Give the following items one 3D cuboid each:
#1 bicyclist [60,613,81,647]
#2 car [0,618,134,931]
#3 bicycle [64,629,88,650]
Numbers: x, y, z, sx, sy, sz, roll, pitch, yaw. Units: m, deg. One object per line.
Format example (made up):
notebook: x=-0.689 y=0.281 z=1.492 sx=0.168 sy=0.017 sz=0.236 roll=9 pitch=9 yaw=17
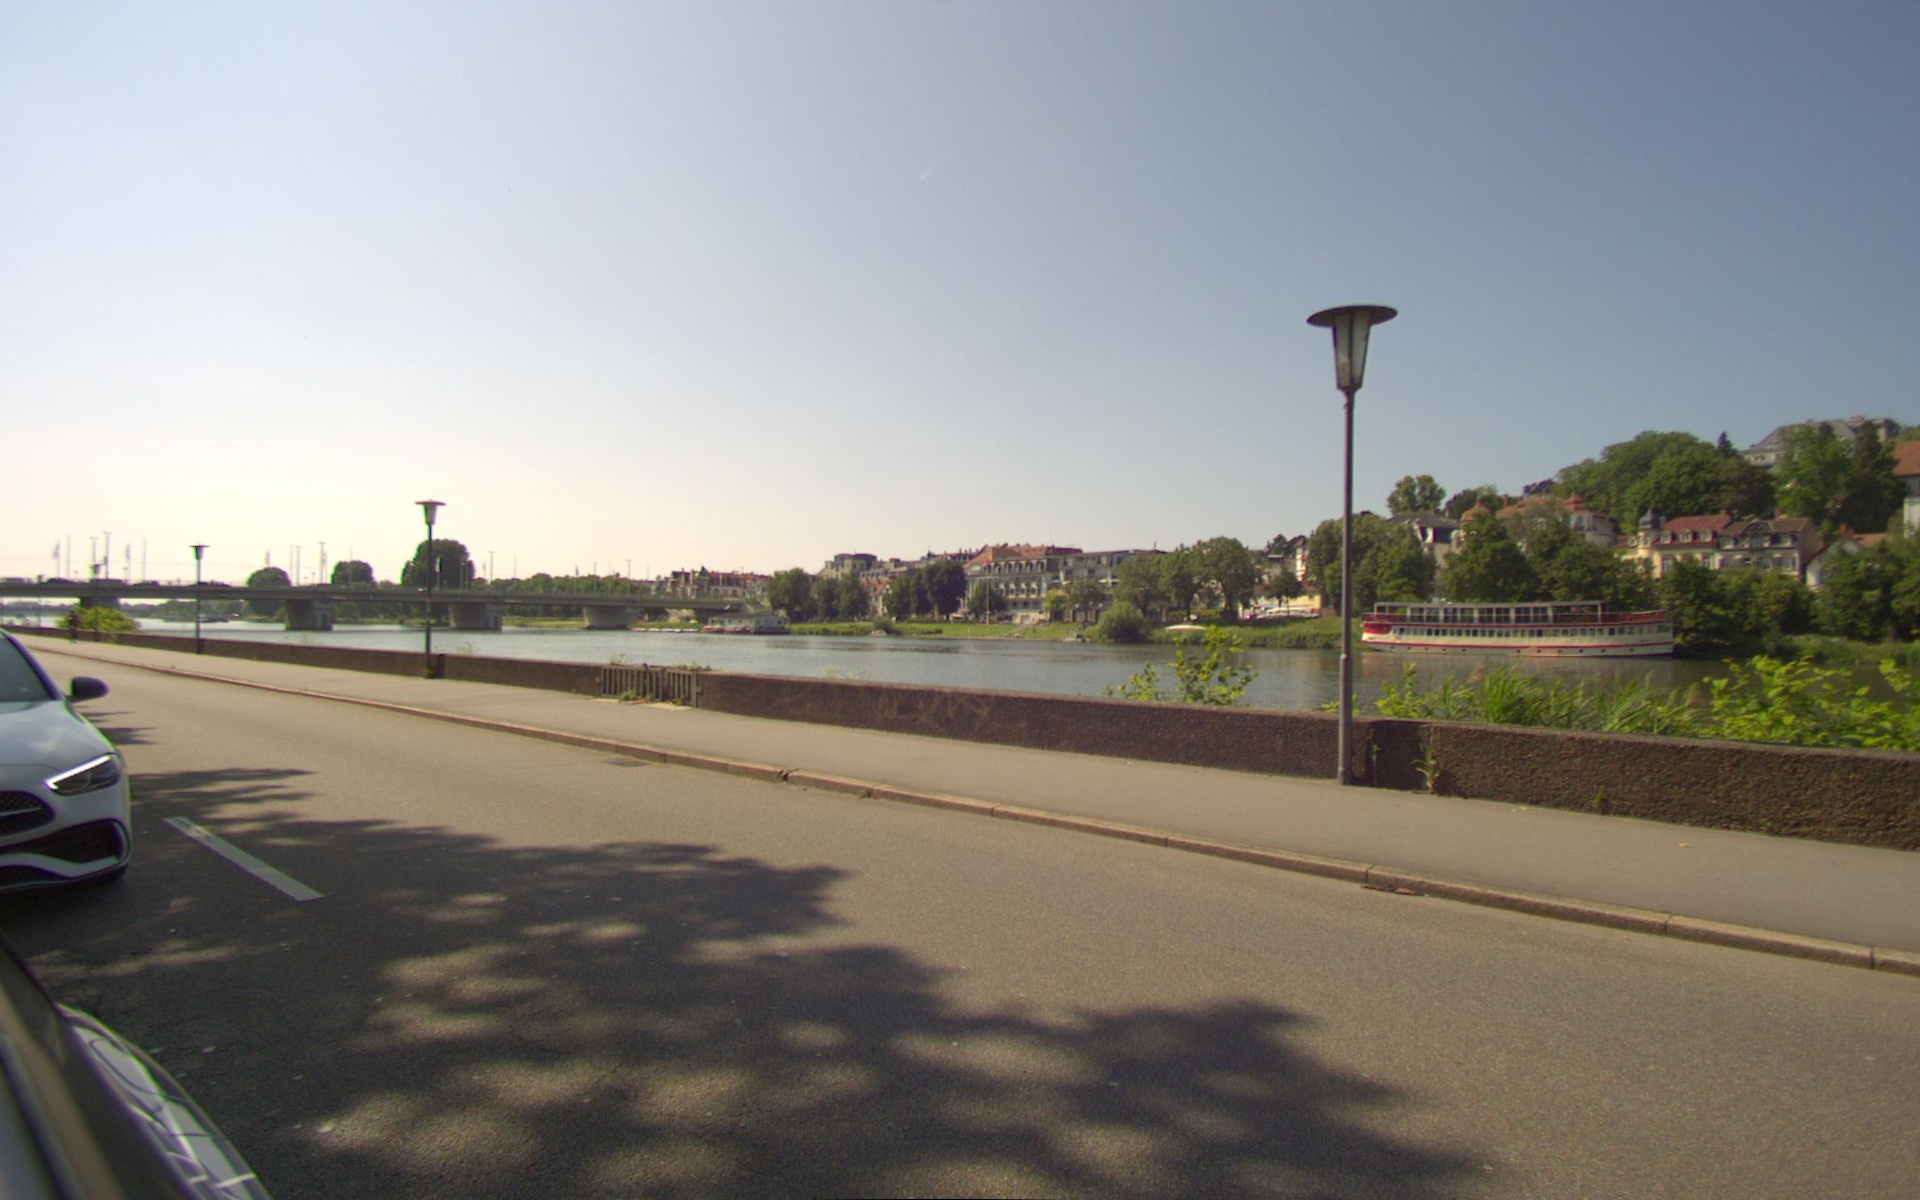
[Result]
bicyclist: x=-44.192 y=1.504 z=50.300 sx=0.870 sy=1.686 sz=0.631 roll=-1 pitch=-2 yaw=41
car: x=-6.376 y=0.836 z=5.850 sx=4.551 sy=1.430 sz=1.806 roll=-1 pitch=-1 yaw=42
bicycle: x=-44.102 y=1.941 z=50.484 sx=1.984 sy=1.019 sz=0.626 roll=-1 pitch=-2 yaw=41
